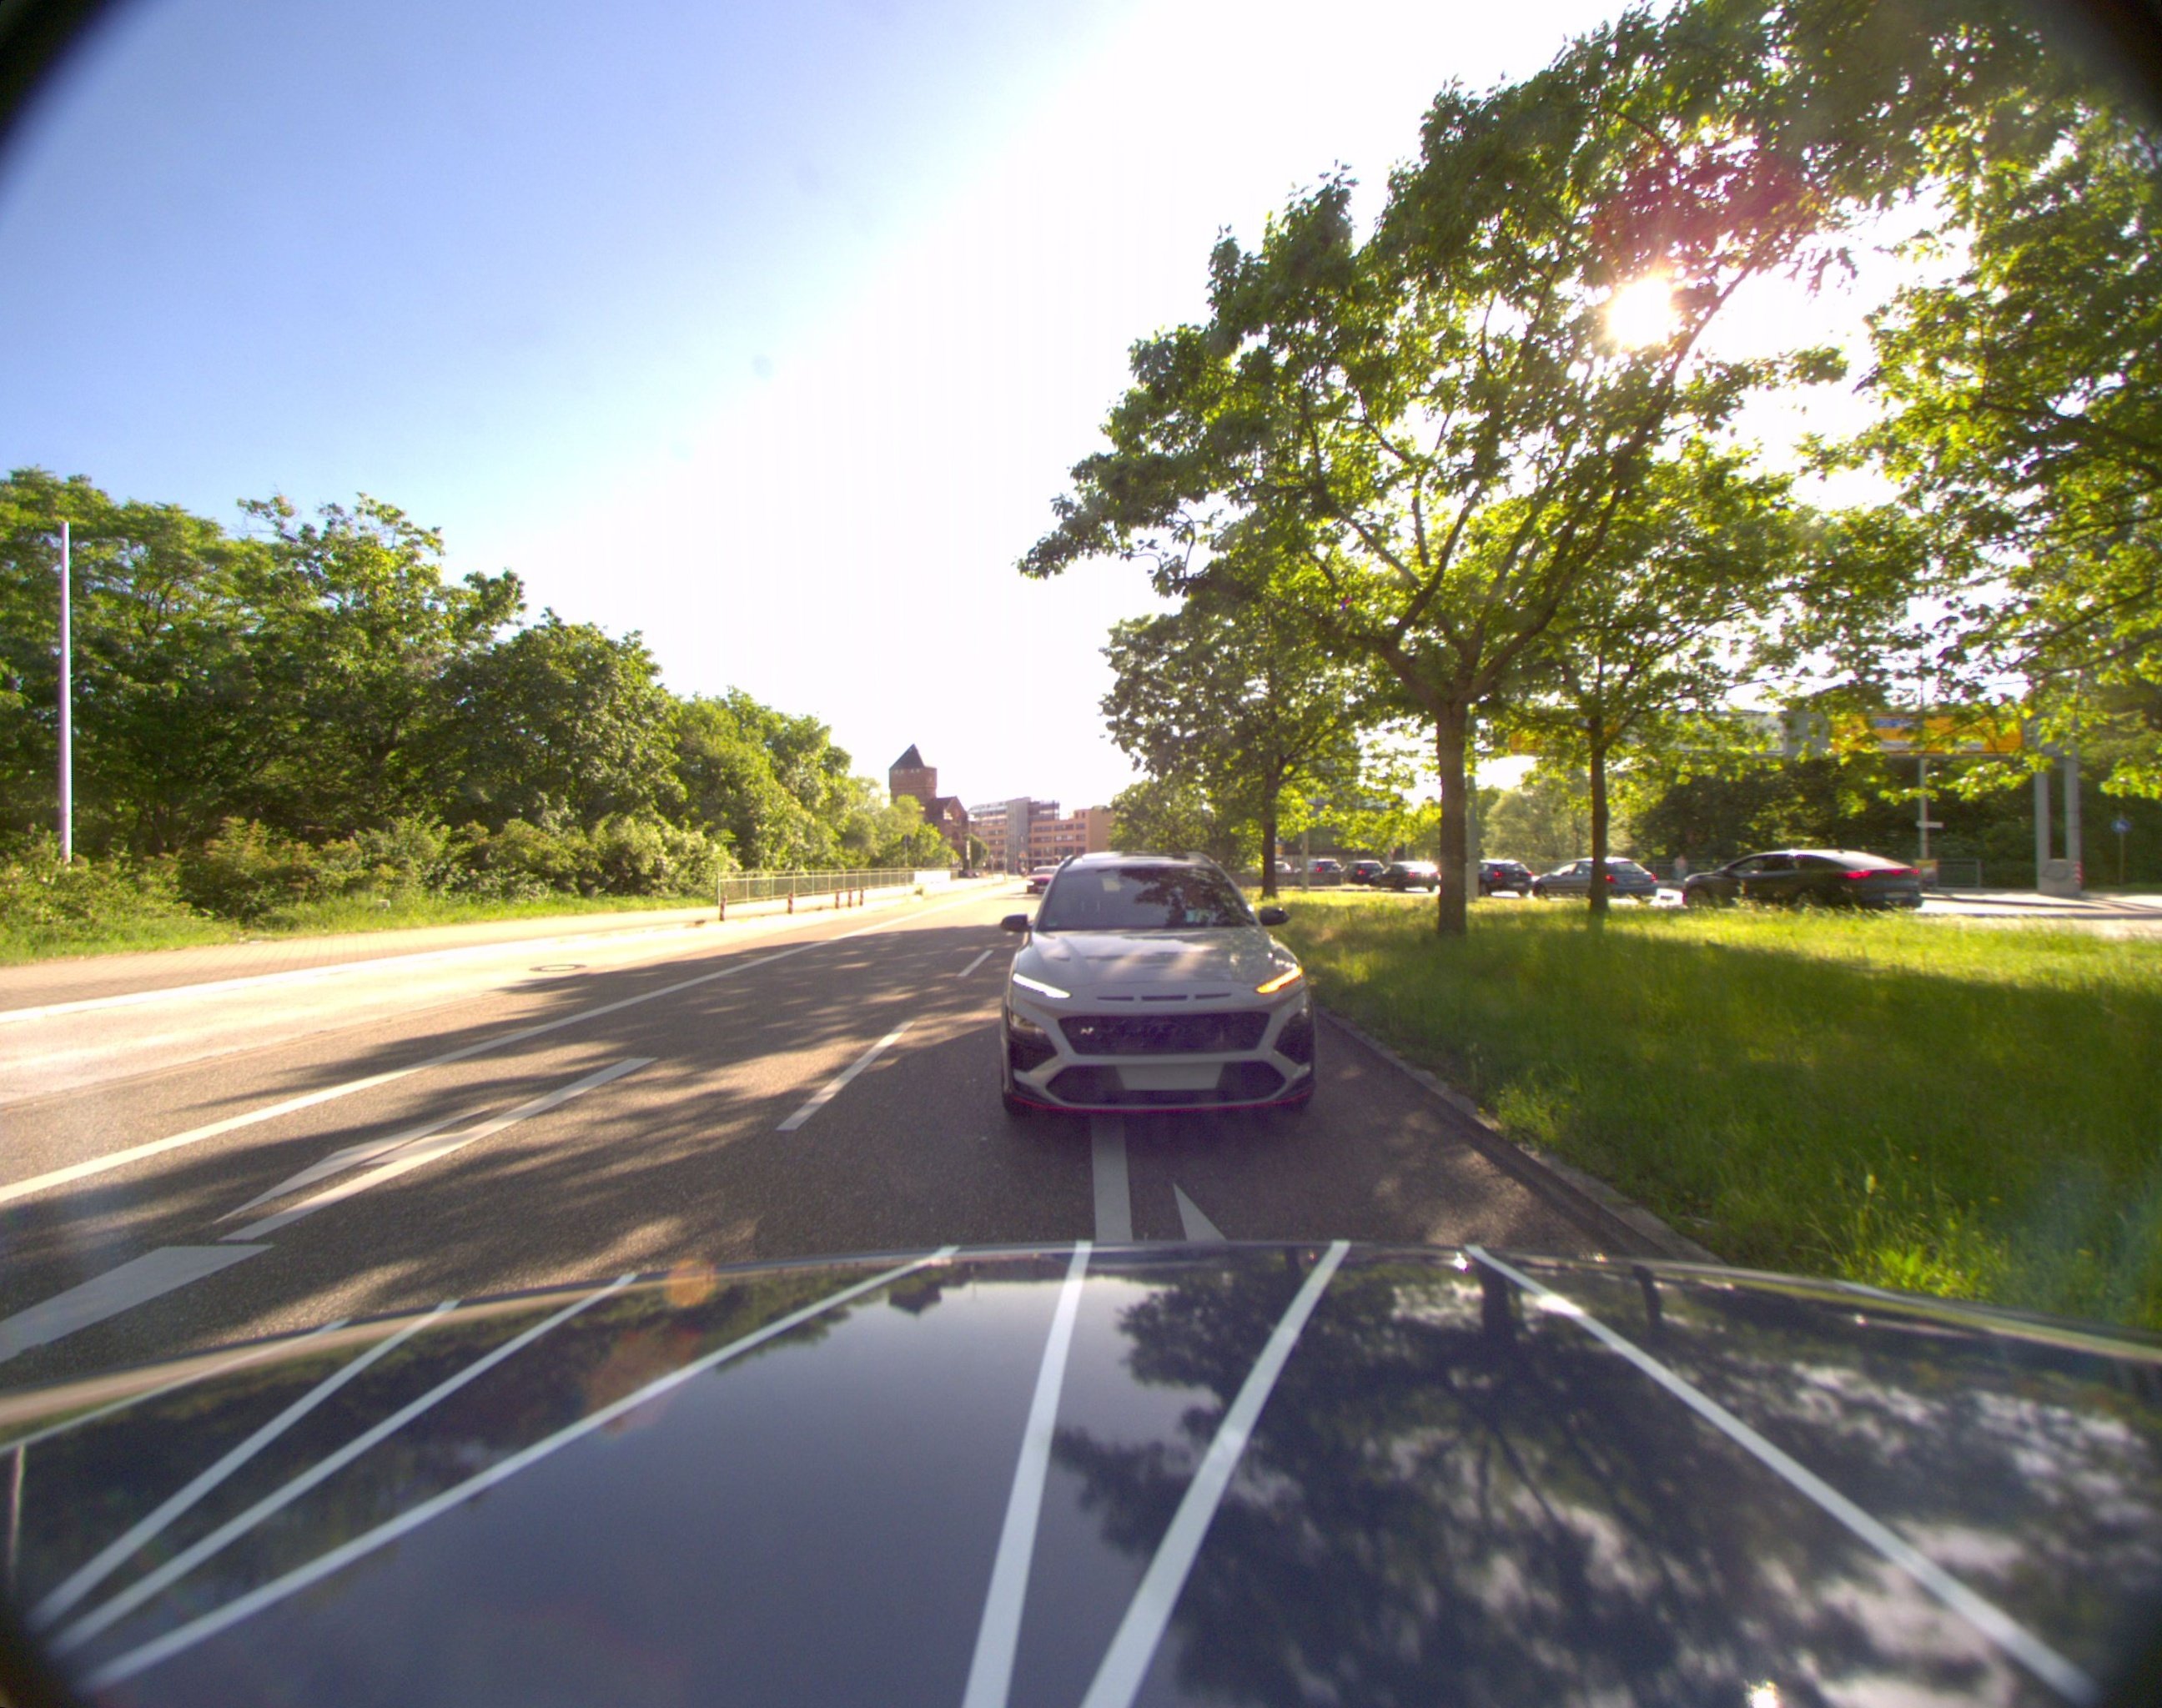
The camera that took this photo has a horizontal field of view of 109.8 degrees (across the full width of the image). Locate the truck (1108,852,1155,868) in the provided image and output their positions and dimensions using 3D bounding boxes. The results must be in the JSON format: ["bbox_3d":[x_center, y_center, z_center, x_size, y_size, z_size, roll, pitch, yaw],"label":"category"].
[{"bbox_3d":[10.470,1.271,157.763,9.139,3.231,3.536,-1,0,33],"label":"truck"}]

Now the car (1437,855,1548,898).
[{"bbox_3d":[16.181,0.843,30.144,1.875,1.541,4.221,-1,0,-4],"label":"car"}]

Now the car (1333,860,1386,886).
[{"bbox_3d":[15.144,1.030,41.473,1.481,1.331,3.202,-1,-1,-6],"label":"car"}]

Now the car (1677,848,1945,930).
[{"bbox_3d":[16.783,0.730,17.870,1.831,1.638,4.459,-1,0,-4],"label":"car"}]

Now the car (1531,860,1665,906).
[{"bbox_3d":[16.380,0.880,24.276,1.561,1.355,3.608,-1,-1,-6],"label":"car"}]

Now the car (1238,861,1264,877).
[{"bbox_3d":[13.936,1.273,62.322,1.199,1.252,2.768,-1,-2,-6],"label":"car"}]

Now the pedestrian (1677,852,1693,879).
[{"bbox_3d":[34.211,0.664,43.050,0.421,1.490,0.545,-1,0,-7],"label":"pedestrian"}]

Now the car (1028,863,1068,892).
[{"bbox_3d":[-1.764,1.237,41.723,1.892,1.420,4.387,-2,0,1],"label":"car"}]

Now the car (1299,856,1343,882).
[{"bbox_3d":[14.961,0.990,47.556,1.450,1.549,3.202,-1,-2,-6],"label":"car"}]

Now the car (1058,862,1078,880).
[{"bbox_3d":[-1.132,1.536,69.537,1.677,1.463,4.151,-1,0,1],"label":"car"}]

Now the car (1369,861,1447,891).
[{"bbox_3d":[15.468,0.995,36.217,1.623,1.305,4.066,-1,0,-6],"label":"car"}]

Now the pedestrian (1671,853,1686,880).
[{"bbox_3d":[33.810,0.715,42.993,0.421,1.490,0.545,-1,0,-7],"label":"pedestrian"}]

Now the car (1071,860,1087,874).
[{"bbox_3d":[-0.330,1.910,113.275,1.998,2.002,4.002,-1,0,5],"label":"car"}]

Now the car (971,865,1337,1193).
[{"bbox_3d":[0.382,0.881,5.682,1.752,1.523,3.988,-1,0,1],"label":"car"}]

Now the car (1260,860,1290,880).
[{"bbox_3d":[14.309,1.207,56.162,1.228,1.331,2.882,-1,-3,-6],"label":"car"}]
